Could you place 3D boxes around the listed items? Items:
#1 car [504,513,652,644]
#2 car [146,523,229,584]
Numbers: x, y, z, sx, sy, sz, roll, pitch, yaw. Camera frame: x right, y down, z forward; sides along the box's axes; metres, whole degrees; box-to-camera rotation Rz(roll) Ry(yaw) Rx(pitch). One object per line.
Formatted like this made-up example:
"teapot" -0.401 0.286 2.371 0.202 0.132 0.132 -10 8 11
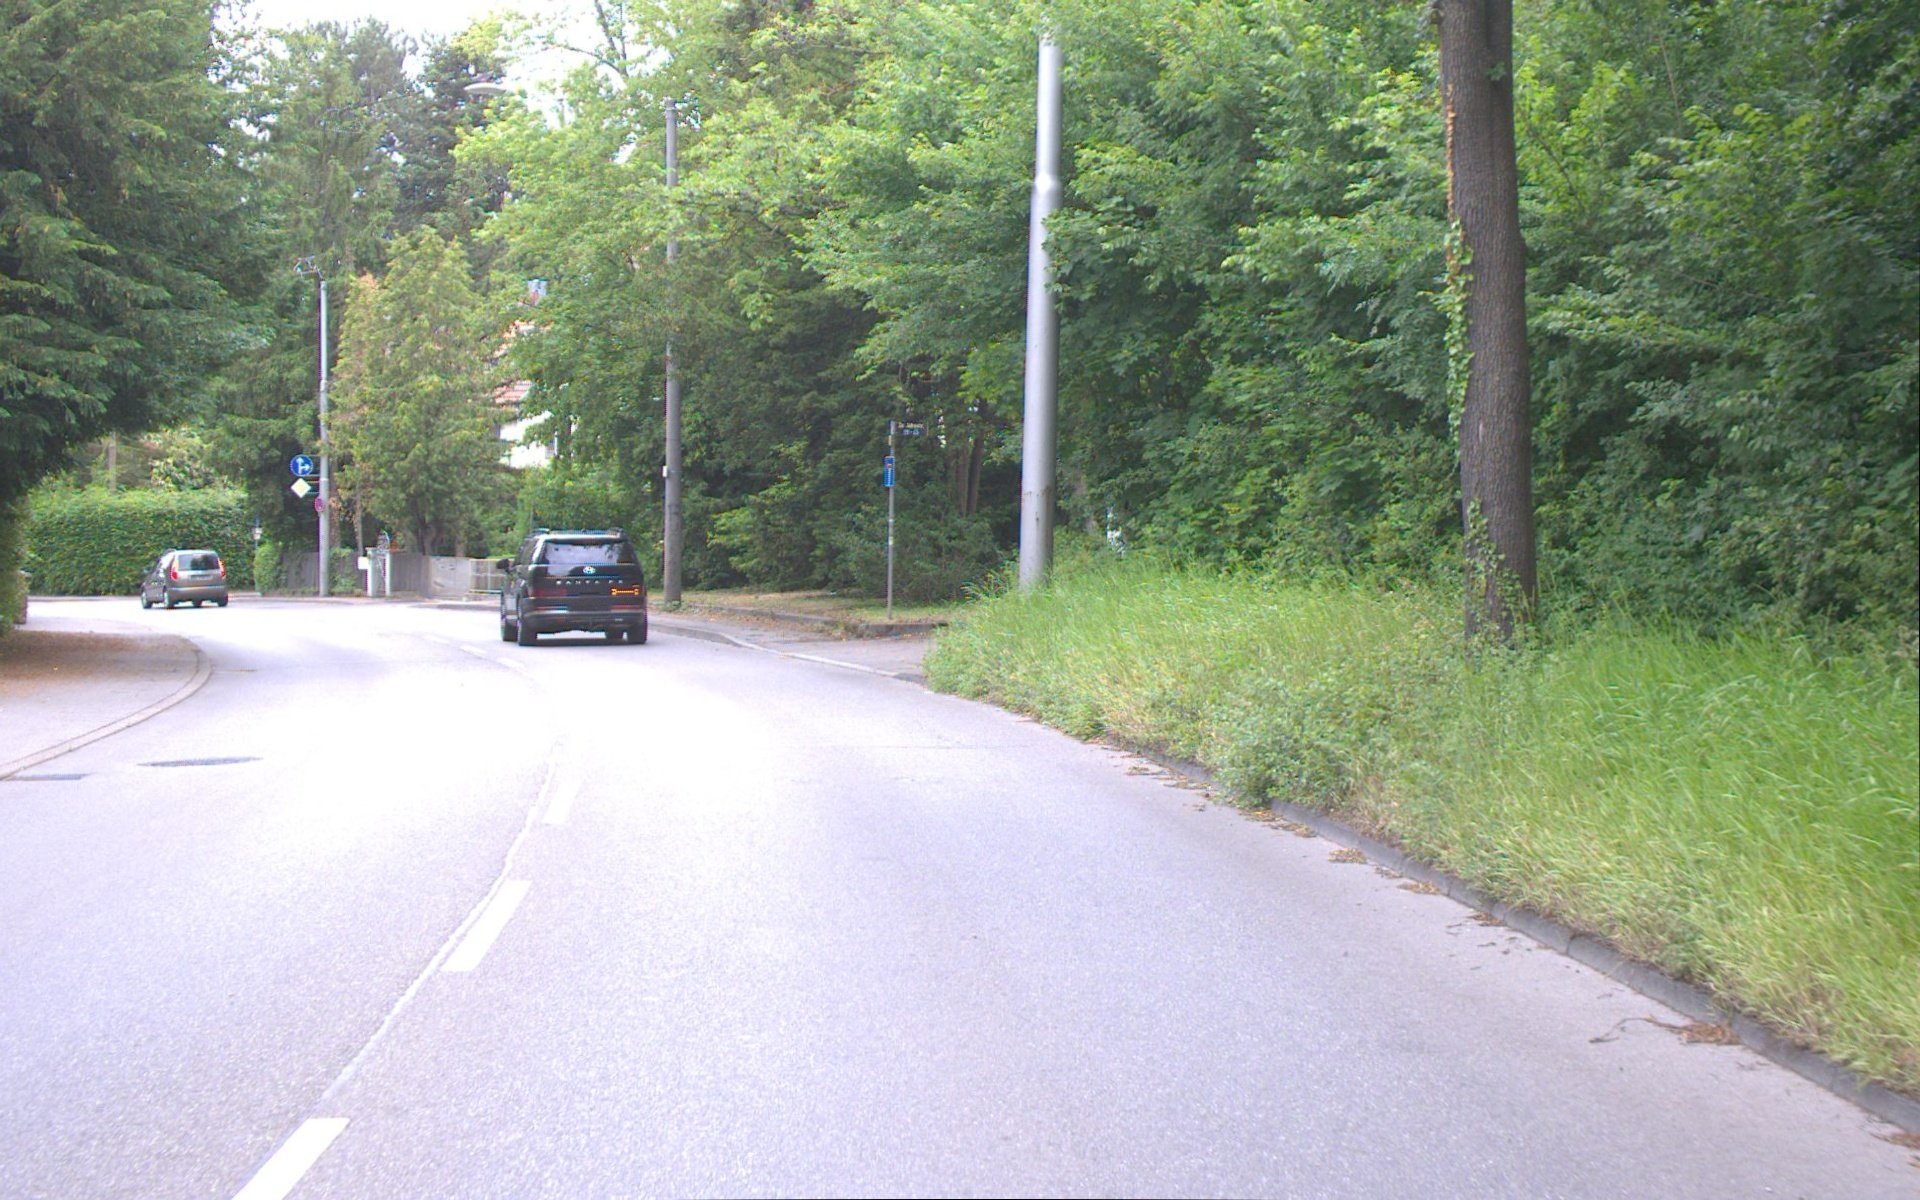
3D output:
"car" -5.842 -0.357 52.224 1.993 1.875 4.001 0 2 -10
"car" -21.546 -1.311 95.822 1.993 1.612 4.002 0 2 -16
